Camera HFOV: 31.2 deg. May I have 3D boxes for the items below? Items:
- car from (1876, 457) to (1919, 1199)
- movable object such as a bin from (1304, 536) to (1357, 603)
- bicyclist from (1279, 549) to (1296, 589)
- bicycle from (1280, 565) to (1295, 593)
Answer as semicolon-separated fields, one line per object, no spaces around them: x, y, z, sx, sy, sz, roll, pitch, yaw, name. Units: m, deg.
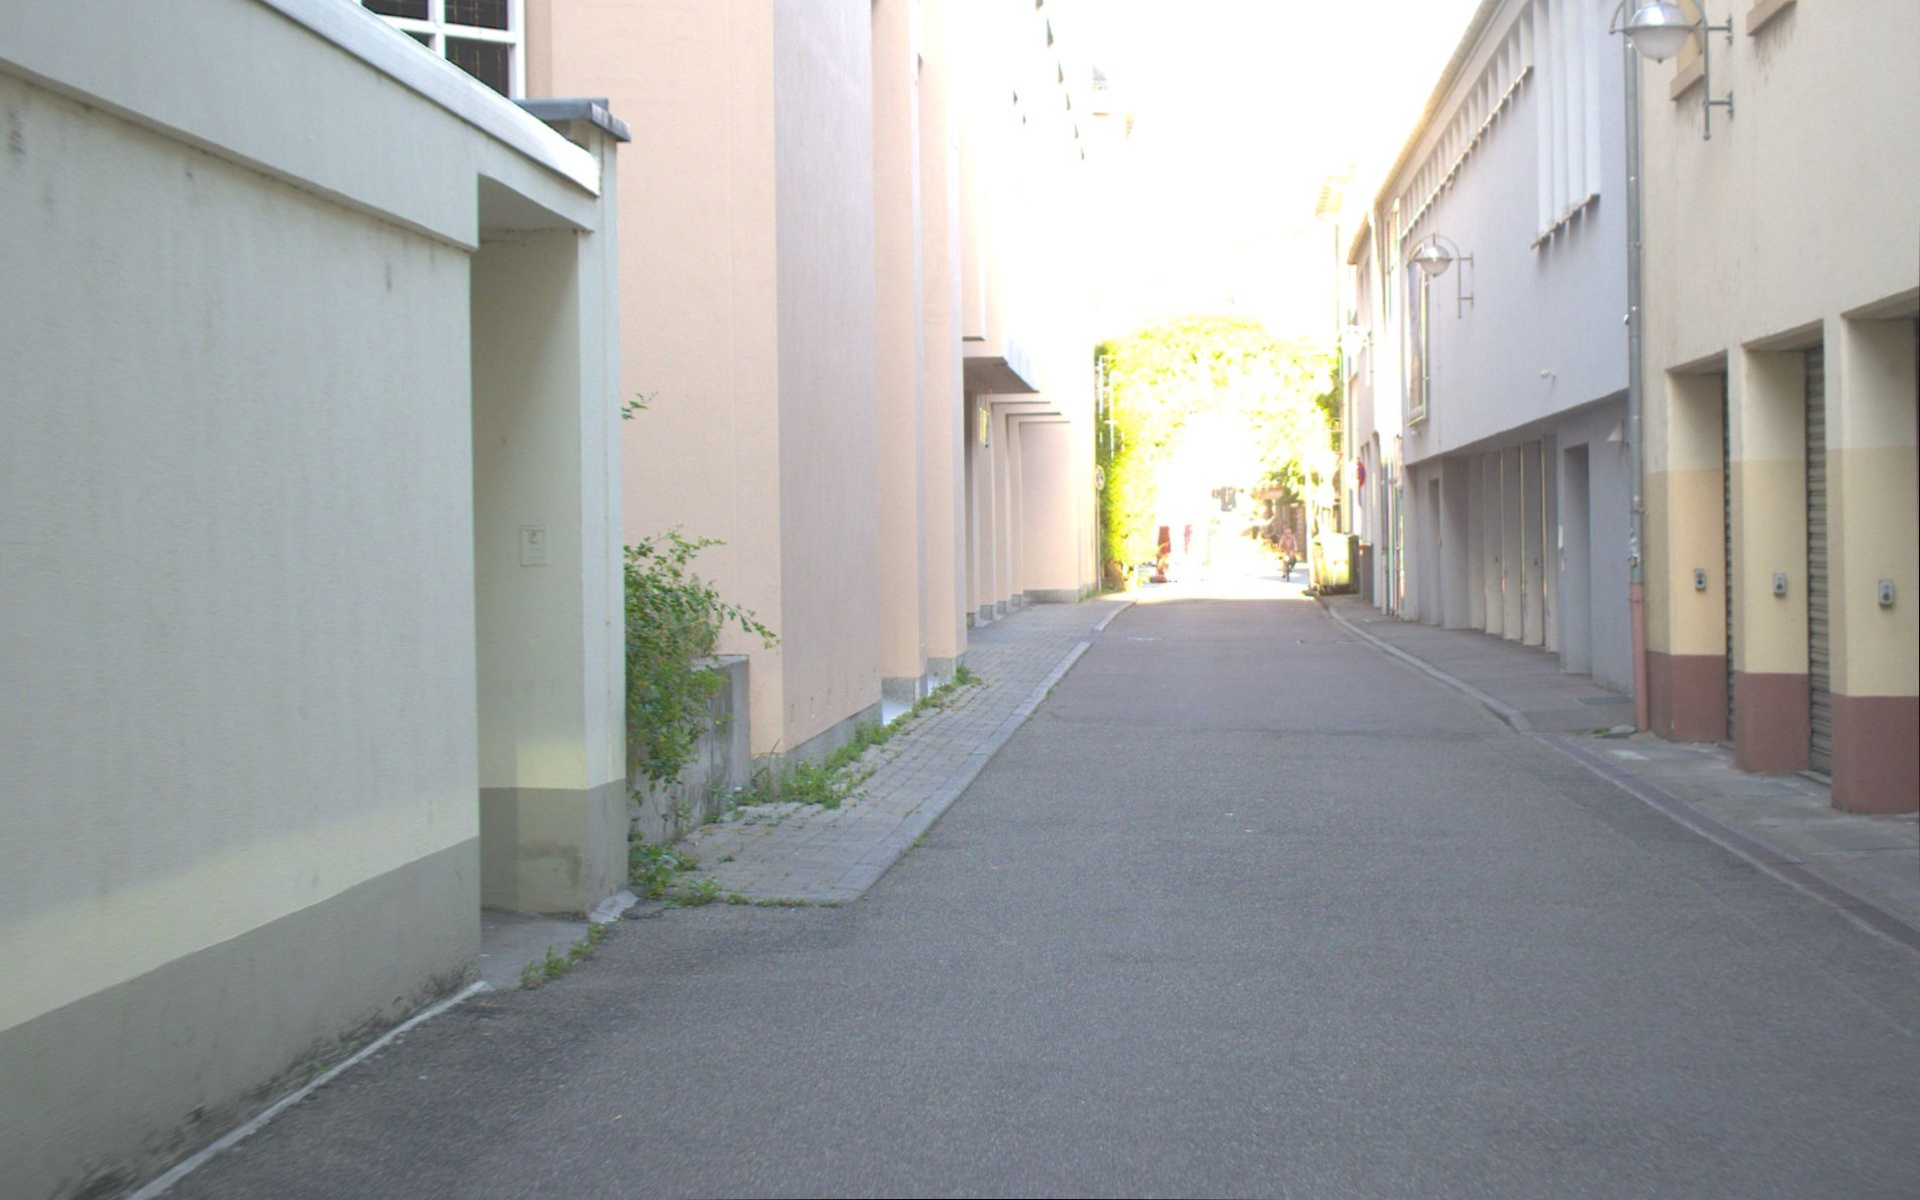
2.662;0.642;4.469;1.855;1.750;4.162;0;1;0;car
8.258;-0.681;76.599;1.107;1.431;1.414;-1;3;4;movable object such as a bin
10.826;-1.039;113.607;0.512;1.318;0.558;1;1;6;bicyclist
10.817;-0.706;113.554;0.443;0.912;1.516;1;1;7;bicycle
